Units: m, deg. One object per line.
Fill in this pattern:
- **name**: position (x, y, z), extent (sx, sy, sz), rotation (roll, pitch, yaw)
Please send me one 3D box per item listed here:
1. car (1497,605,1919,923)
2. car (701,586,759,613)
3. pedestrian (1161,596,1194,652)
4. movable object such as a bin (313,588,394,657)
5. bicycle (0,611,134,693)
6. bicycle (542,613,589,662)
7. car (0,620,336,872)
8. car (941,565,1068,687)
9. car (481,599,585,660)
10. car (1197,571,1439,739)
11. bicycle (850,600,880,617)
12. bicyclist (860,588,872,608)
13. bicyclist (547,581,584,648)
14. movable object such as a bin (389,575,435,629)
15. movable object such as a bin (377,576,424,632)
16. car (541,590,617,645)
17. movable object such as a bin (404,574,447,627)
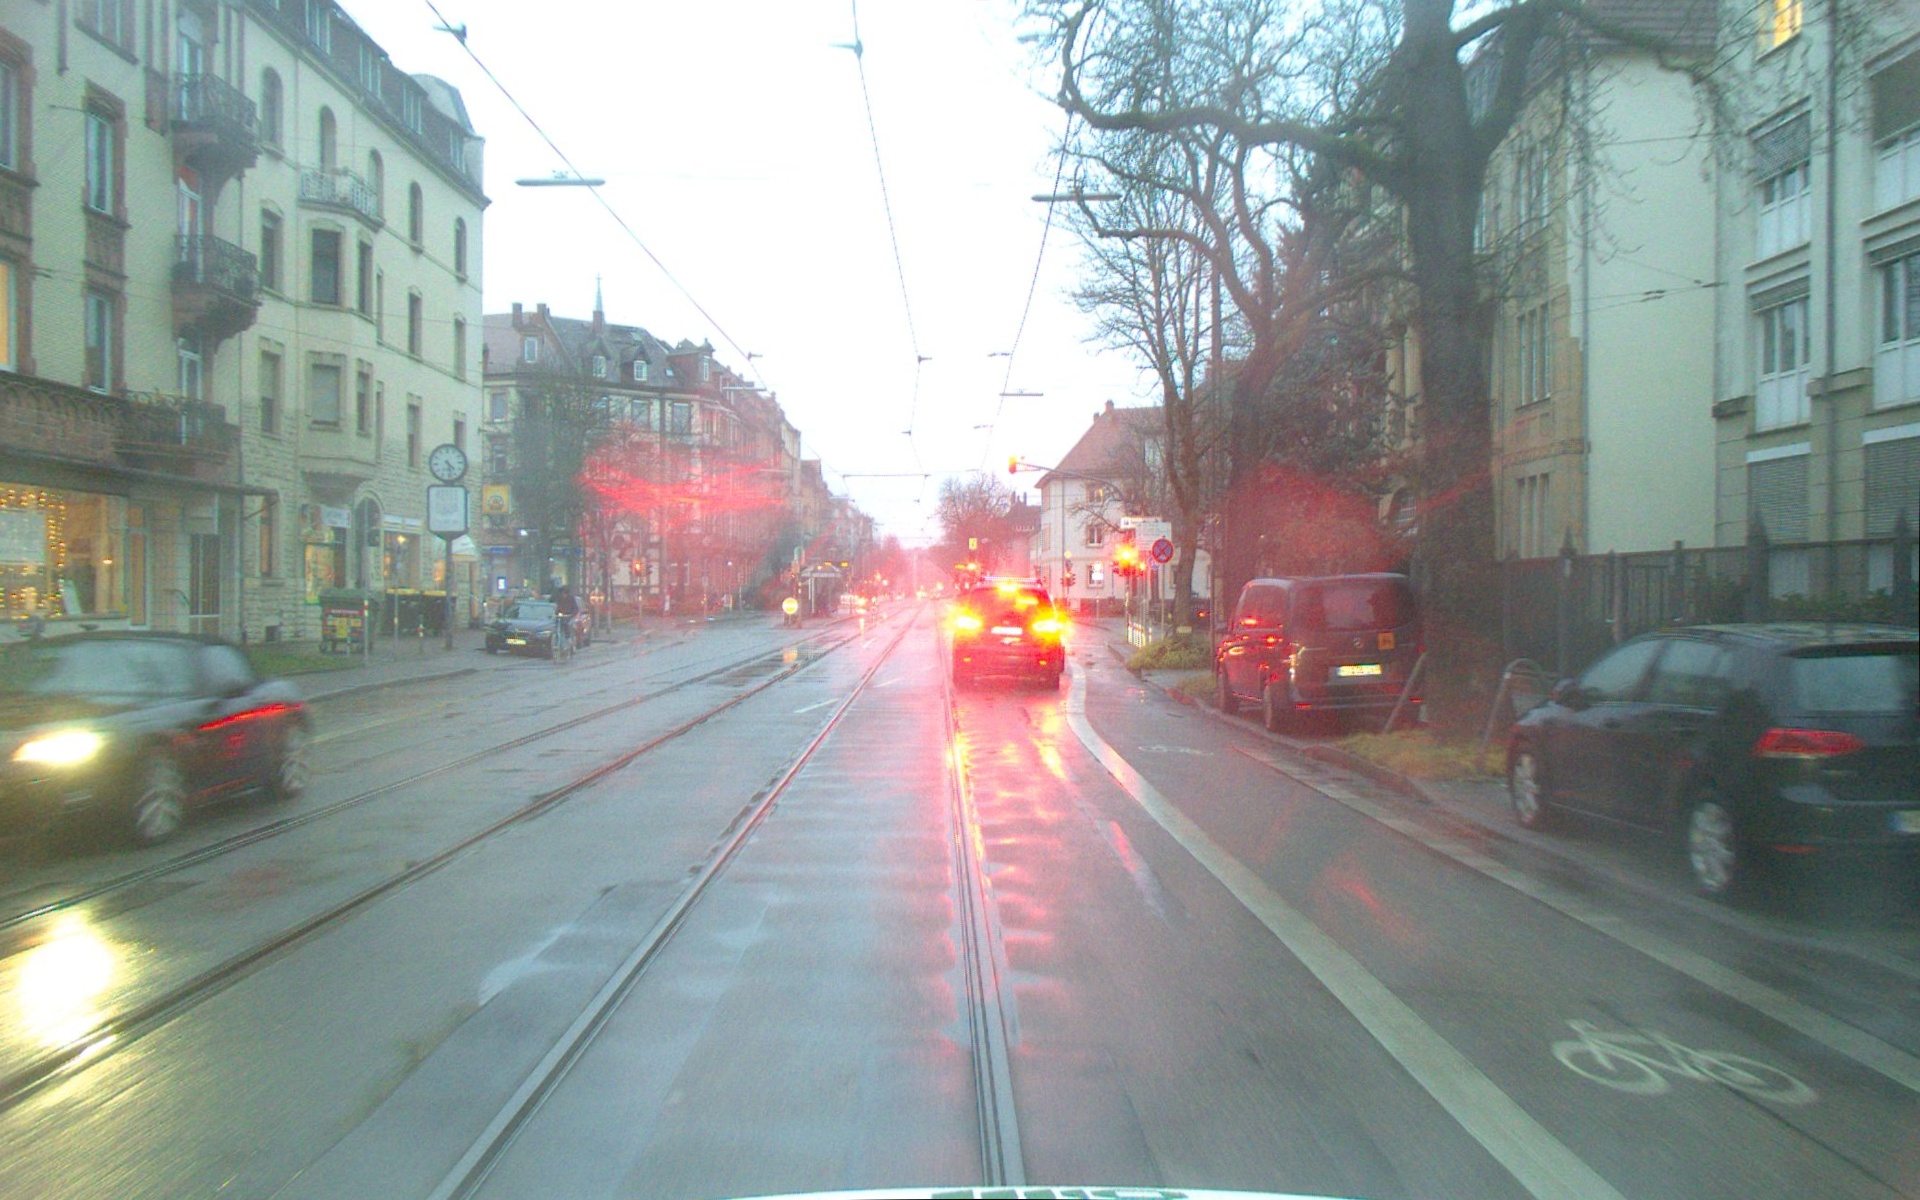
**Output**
- **car**: position (4.801, 0.802, 10.075), extent (1.643, 1.485, 4.041), rotation (0, 0, -2)
- **car**: position (-15.847, -0.033, 113.903), extent (3.914, 1.747, 1.899), rotation (-1, 1, -10)
- **pedestrian**: position (7.973, 0.872, 60.669), extent (1.002, 2.049, 0.918), rotation (0, 1, -4)
- **movable object such as a bin**: position (-14.171, 0.505, 38.689), extent (1.380, 1.557, 1.364), rotation (0, 1, -1)
- **bicycle**: position (-12.648, 0.721, 23.209), extent (1.771, 1.099, 0.615), rotation (-1, 1, -8)
- **bicycle**: position (-9.637, 0.901, 40.463), extent (0.702, 1.130, 2.064), rotation (0, 1, -2)
- **car**: position (-5.515, 0.803, 10.694), extent (1.627, 1.219, 3.873), rotation (0, 1, -3)
- **car**: position (0.695, 0.454, 29.261), extent (1.953, 1.930, 4.757), rotation (1, -1, -2)
- **car**: position (-11.429, 0.755, 44.469), extent (1.796, 1.472, 4.000), rotation (0, 1, -1)
- **car**: position (4.532, 0.595, 21.750), extent (1.953, 1.933, 5.025), rotation (0, 1, -2)
- **bicycle**: position (-6.664, 0.565, 116.275), extent (2.069, 1.153, 0.555), rotation (-1, 1, -15)
- **bicyclist**: position (-6.613, -0.135, 116.290), extent (0.808, 1.400, 0.555), rotation (-1, 1, -15)
- **bicyclist**: position (-9.658, 0.347, 40.561), extent (0.702, 1.630, 0.931), rotation (0, 1, -3)
- **movable object such as a bin**: position (-16.841, 0.041, 50.818), extent (0.993, 1.628, 1.155), rotation (0, 1, 1)
- **movable object such as a bin**: position (-16.760, 0.114, 49.584), extent (0.993, 1.628, 1.081), rotation (0, 1, 1)
- **car**: position (-11.791, 0.517, 51.333), extent (1.596, 1.577, 3.499), rotation (0, 1, -1)
- **movable object such as a bin**: position (-16.814, 0.014, 52.044), extent (0.993, 1.628, 1.081), rotation (0, 1, 1)
